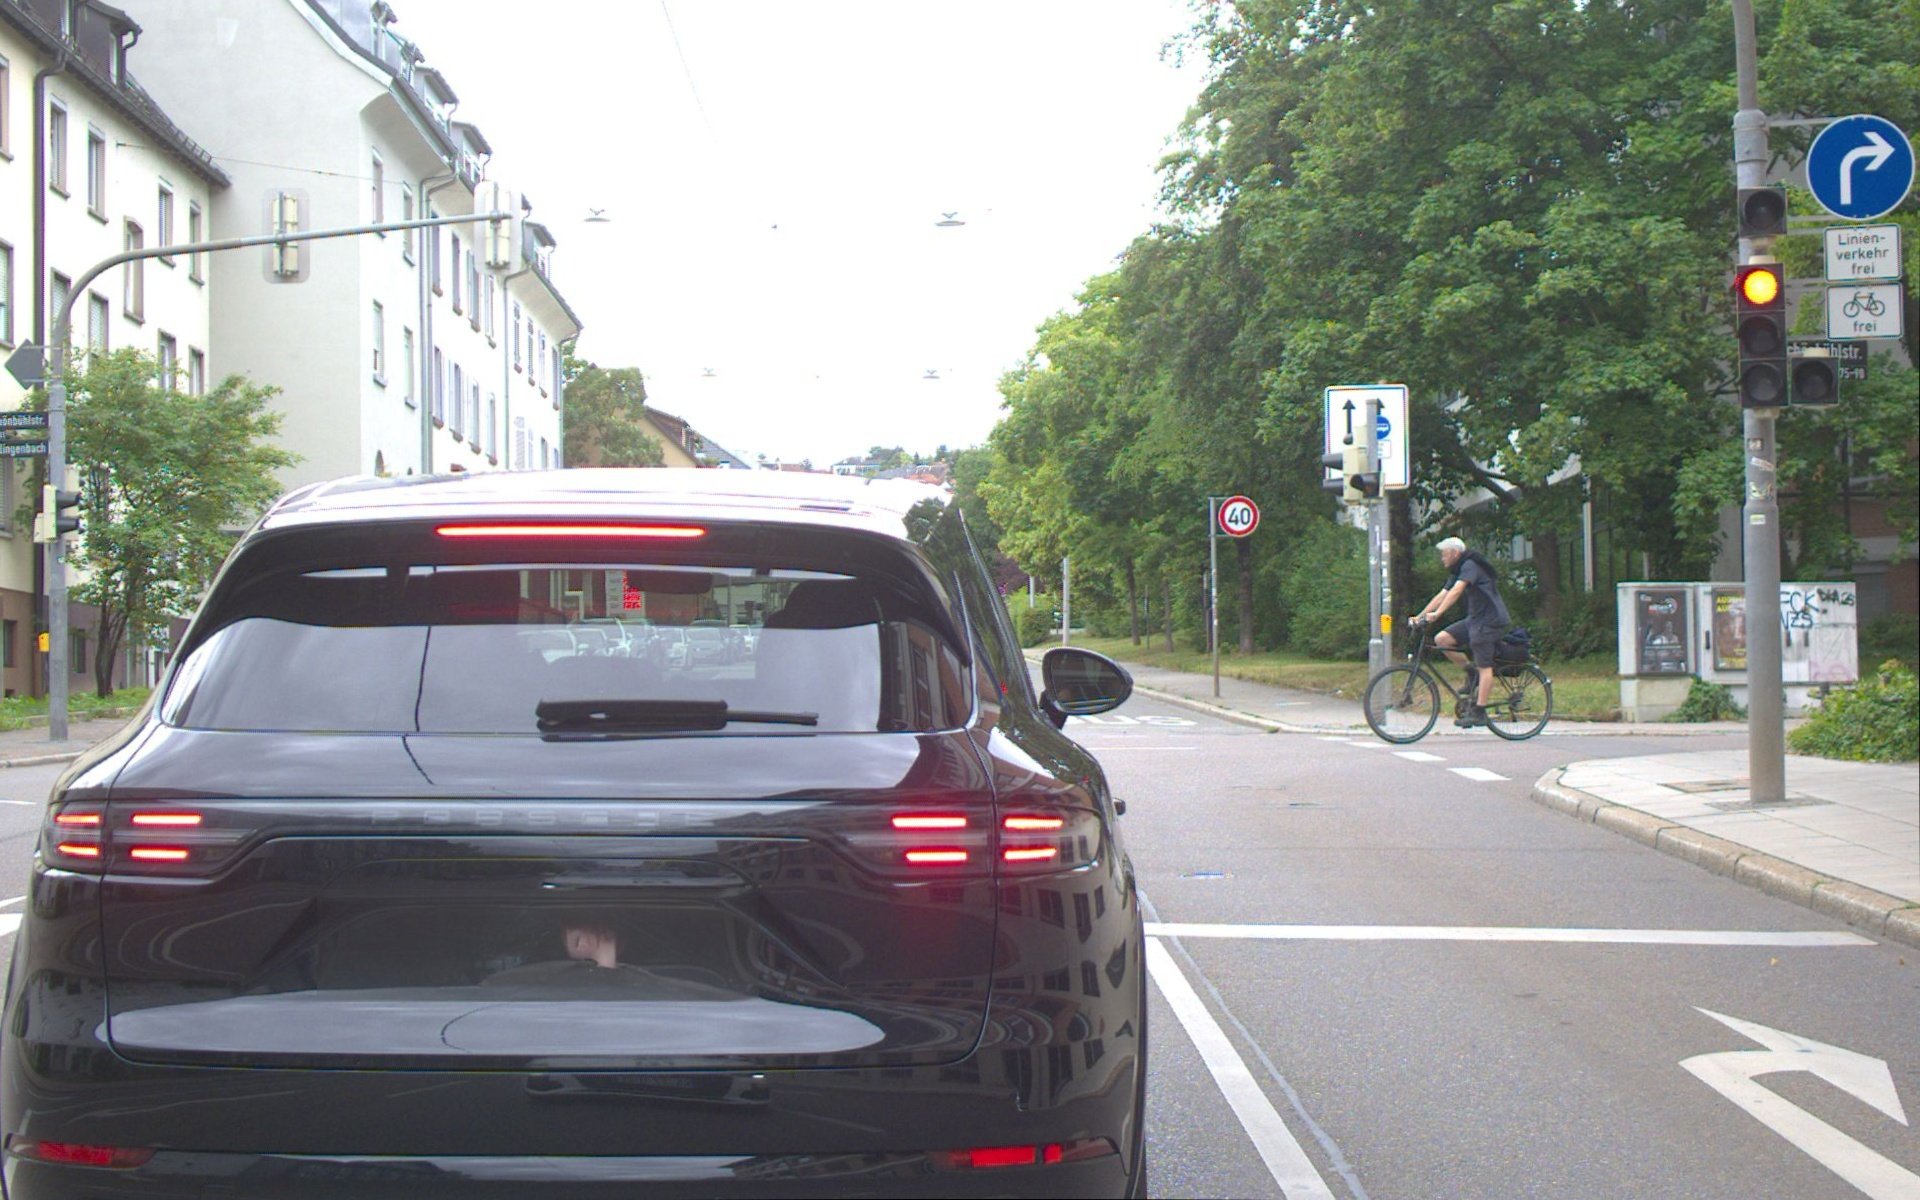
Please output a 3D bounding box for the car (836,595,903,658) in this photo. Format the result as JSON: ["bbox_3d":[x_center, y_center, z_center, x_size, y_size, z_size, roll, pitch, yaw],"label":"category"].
[{"bbox_3d":[-2.371,0.682,89.598,1.688,1.547,3.889,1,1,-2],"label":"car"}]

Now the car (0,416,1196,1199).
[{"bbox_3d":[-0.676,0.561,7.162,1.993,1.691,4.000,1,1,-1],"label":"car"}]

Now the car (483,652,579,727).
[{"bbox_3d":[-8.661,1.794,69.665,1.669,1.357,4.001,0,1,-3],"label":"car"}]

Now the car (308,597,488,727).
[{"bbox_3d":[-7.357,0.782,45.313,1.664,1.514,3.740,-4,0,0],"label":"car"}]

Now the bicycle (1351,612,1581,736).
[{"bbox_3d":[4.535,0.661,30.847,1.905,1.077,0.703,1,0,-12],"label":"bicycle"}]

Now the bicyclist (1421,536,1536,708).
[{"bbox_3d":[4.652,0.191,30.865,0.809,1.514,0.707,1,0,-11],"label":"bicyclist"}]
